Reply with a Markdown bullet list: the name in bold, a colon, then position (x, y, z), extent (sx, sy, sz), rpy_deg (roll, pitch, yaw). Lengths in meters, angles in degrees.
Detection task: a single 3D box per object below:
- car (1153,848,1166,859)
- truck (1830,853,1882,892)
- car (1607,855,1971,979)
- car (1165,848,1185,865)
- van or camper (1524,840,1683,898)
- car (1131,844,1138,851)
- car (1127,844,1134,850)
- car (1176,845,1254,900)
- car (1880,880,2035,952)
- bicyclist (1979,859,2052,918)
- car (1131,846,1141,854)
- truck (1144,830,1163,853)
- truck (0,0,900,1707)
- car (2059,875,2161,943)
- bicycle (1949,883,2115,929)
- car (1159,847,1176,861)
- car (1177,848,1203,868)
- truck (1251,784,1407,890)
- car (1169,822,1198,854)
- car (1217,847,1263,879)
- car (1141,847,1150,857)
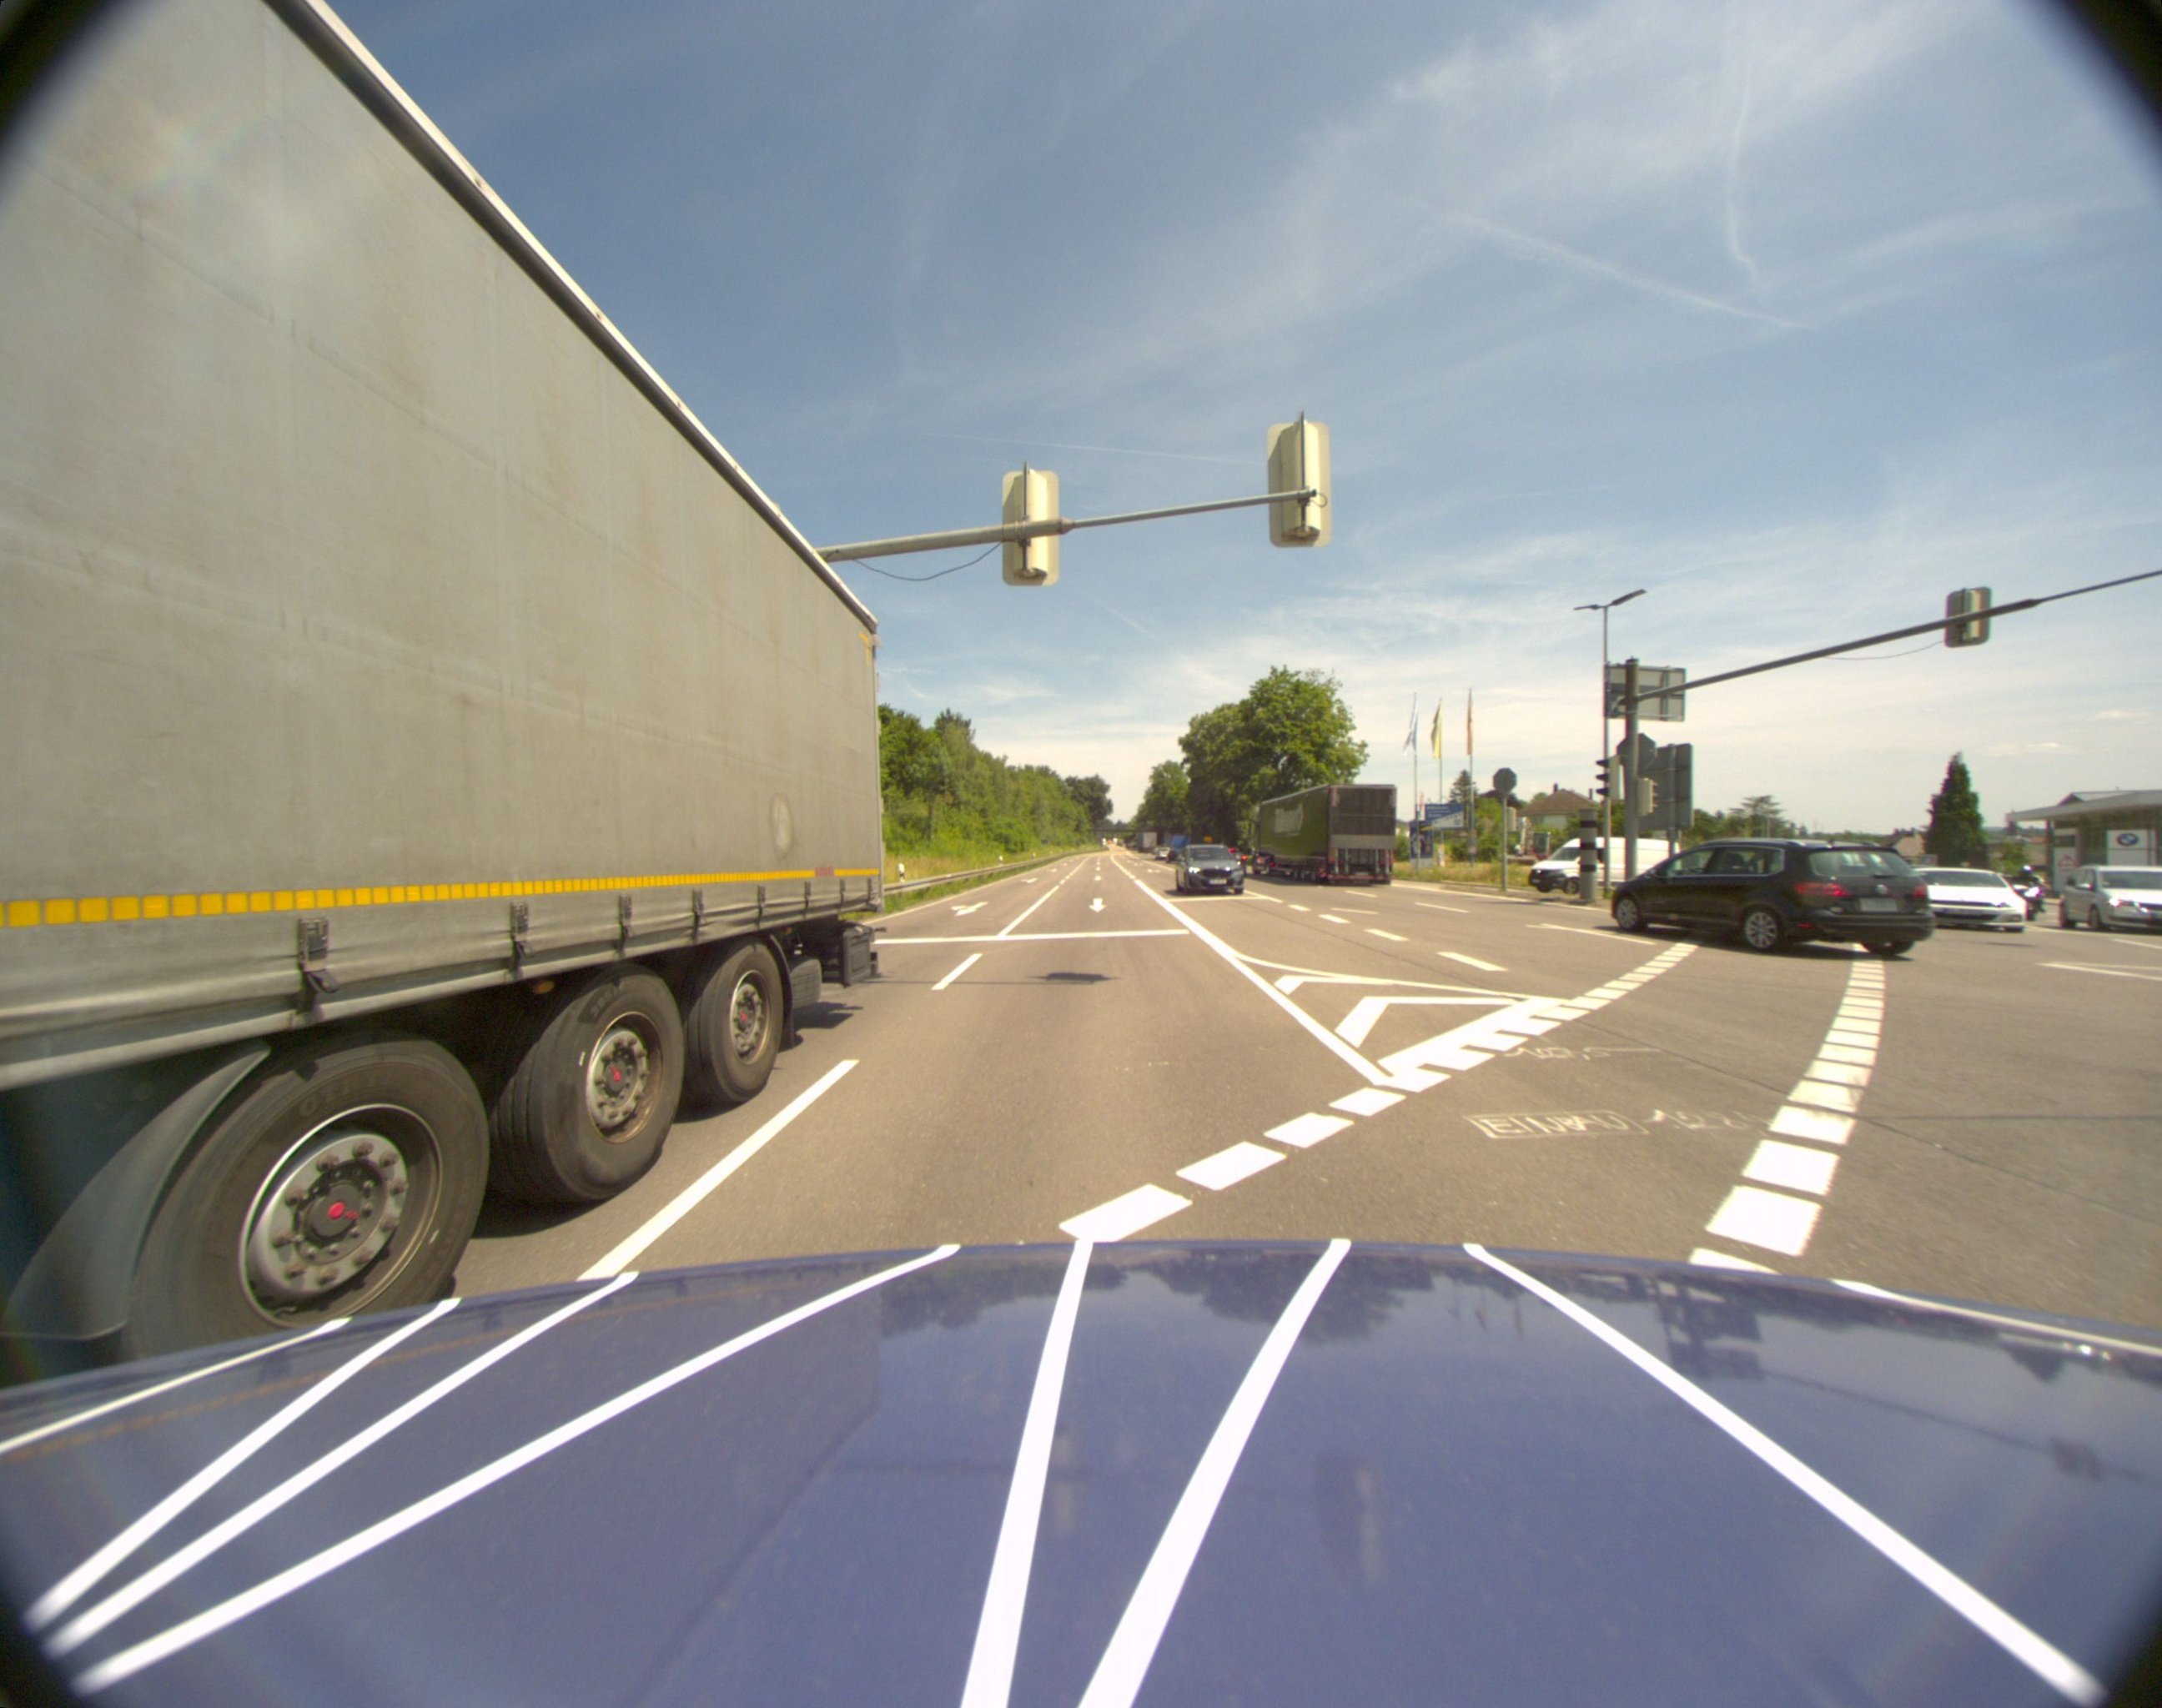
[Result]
- **car**: position (13.589, -0.097, 131.571), extent (1.998, 2.002, 4.001), rpy_deg (1, 0, 4)
- **truck**: position (68.407, 1.578, 67.133), extent (9.635, 3.201, 2.994), rpy_deg (1, 1, -45)
- **car**: position (10.123, 0.778, 11.417), extent (1.687, 1.420, 4.154), rpy_deg (1, 1, 3)
- **car**: position (9.278, 0.228, 75.328), extent (1.687, 1.489, 3.955), rpy_deg (3, 1, 3)
- **van or camper**: position (22.591, 0.625, 32.998), extent (5.465, 2.398, 2.096), rpy_deg (0, 1, -1)
- **car**: position (15.166, -1.790, 215.558), extent (1.998, 2.002, 4.001), rpy_deg (1, 0, 5)
- **car**: position (15.100, -2.063, 231.369), extent (1.998, 1.707, 4.000), rpy_deg (1, 1, 2)
- **car**: position (4.304, 0.533, 25.073), extent (1.928, 1.601, 4.510), rpy_deg (-1, 1, 3)
- **car**: position (19.714, 1.315, 17.277), extent (1.918, 1.306, 4.009), rpy_deg (2, 1, 44)
- **bicyclist**: position (28.917, 1.041, 23.532), extent (0.969, 1.759, 1.054), rpy_deg (0, 1, 1)
- **car**: position (13.594, -0.978, 186.618), extent (2.168, 2.002, 4.002), rpy_deg (1, 0, 6)
- **truck**: position (14.305, -2.462, 149.948), extent (3.533, 4.496, 7.204), rpy_deg (-2, 1, 6)
- **truck**: position (-3.467, -0.289, 0.711), extent (2.980, 3.987, 14.122), rpy_deg (1, 0, 1)
- **car**: position (25.149, 1.251, 17.933), extent (1.918, 1.413, 4.009), rpy_deg (2, 1, 44)
- **bicycle**: position (28.821, 1.530, 23.166), extent (1.131, 1.163, 3.127), rpy_deg (0, 0, 1)
- **car**: position (10.027, -0.025, 88.057), extent (1.687, 1.489, 3.955), rpy_deg (3, 1, 3)
- **car**: position (8.910, 0.330, 62.193), extent (1.687, 1.489, 3.955), rpy_deg (3, 1, 3)
- **truck**: position (11.328, -0.768, 37.427), extent (2.850, 3.932, 17.088), rpy_deg (2, 1, 3)
- **car**: position (13.656, -2.097, 101.657), extent (3.350, 4.056, 7.695), rpy_deg (1, 0, 4)
- **car**: position (8.174, 0.421, 39.294), extent (1.687, 1.489, 3.955), rpy_deg (3, 1, 3)
- **car**: position (13.455, -0.503, 159.069), extent (1.899, 2.002, 3.754), rpy_deg (1, 0, 5)
